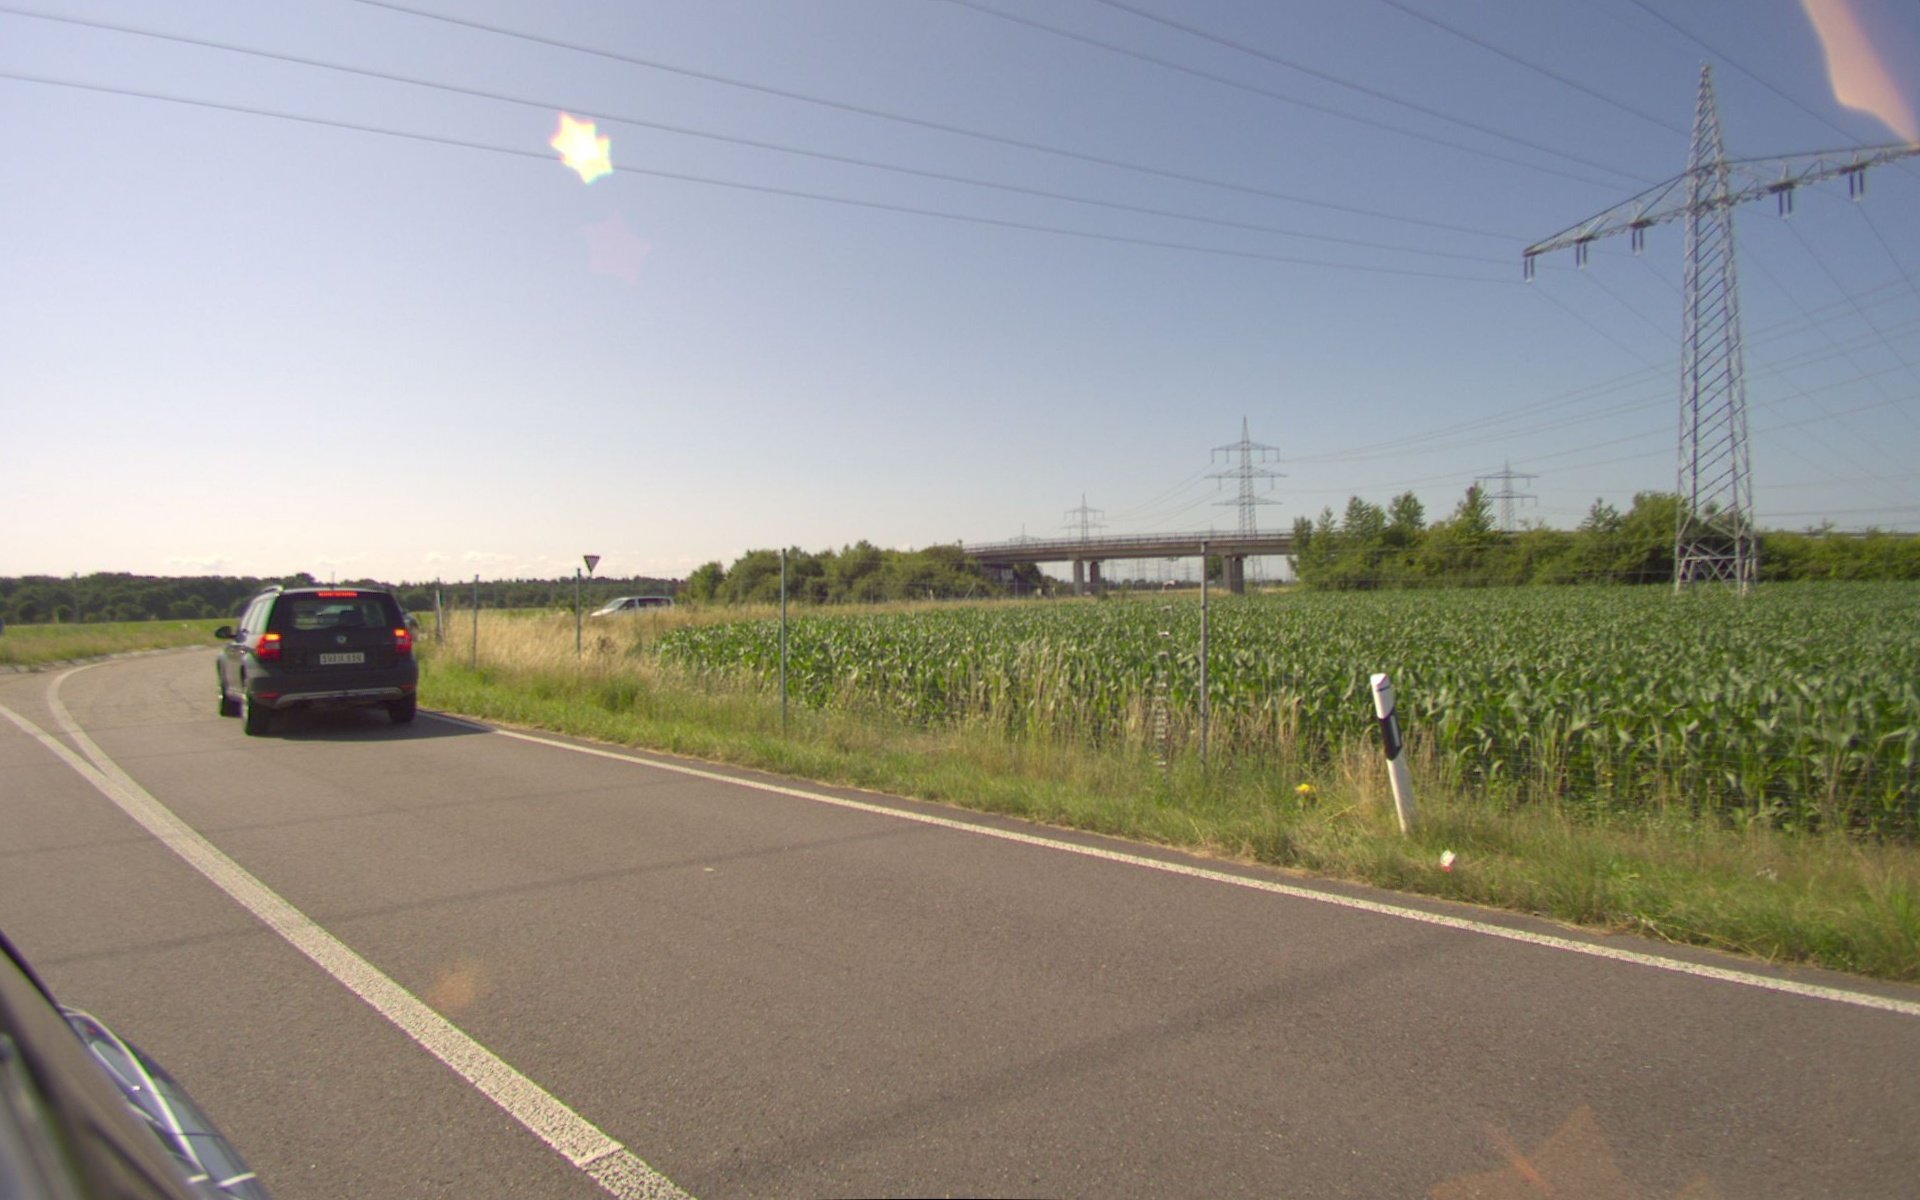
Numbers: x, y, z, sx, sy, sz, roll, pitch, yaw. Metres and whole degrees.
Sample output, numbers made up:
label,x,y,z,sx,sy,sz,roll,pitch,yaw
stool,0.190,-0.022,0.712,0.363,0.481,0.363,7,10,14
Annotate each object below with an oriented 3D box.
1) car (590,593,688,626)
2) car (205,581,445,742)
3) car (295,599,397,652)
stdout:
label,x,y,z,sx,sy,sz,roll,pitch,yaw
car,-19.005,0.542,60.148,2.099,1.652,5.286,-1,1,38
car,-8.329,0.669,13.096,1.959,1.719,4.267,0,0,-42
car,-18.756,0.726,31.119,1.750,1.467,4.607,-1,0,-19
